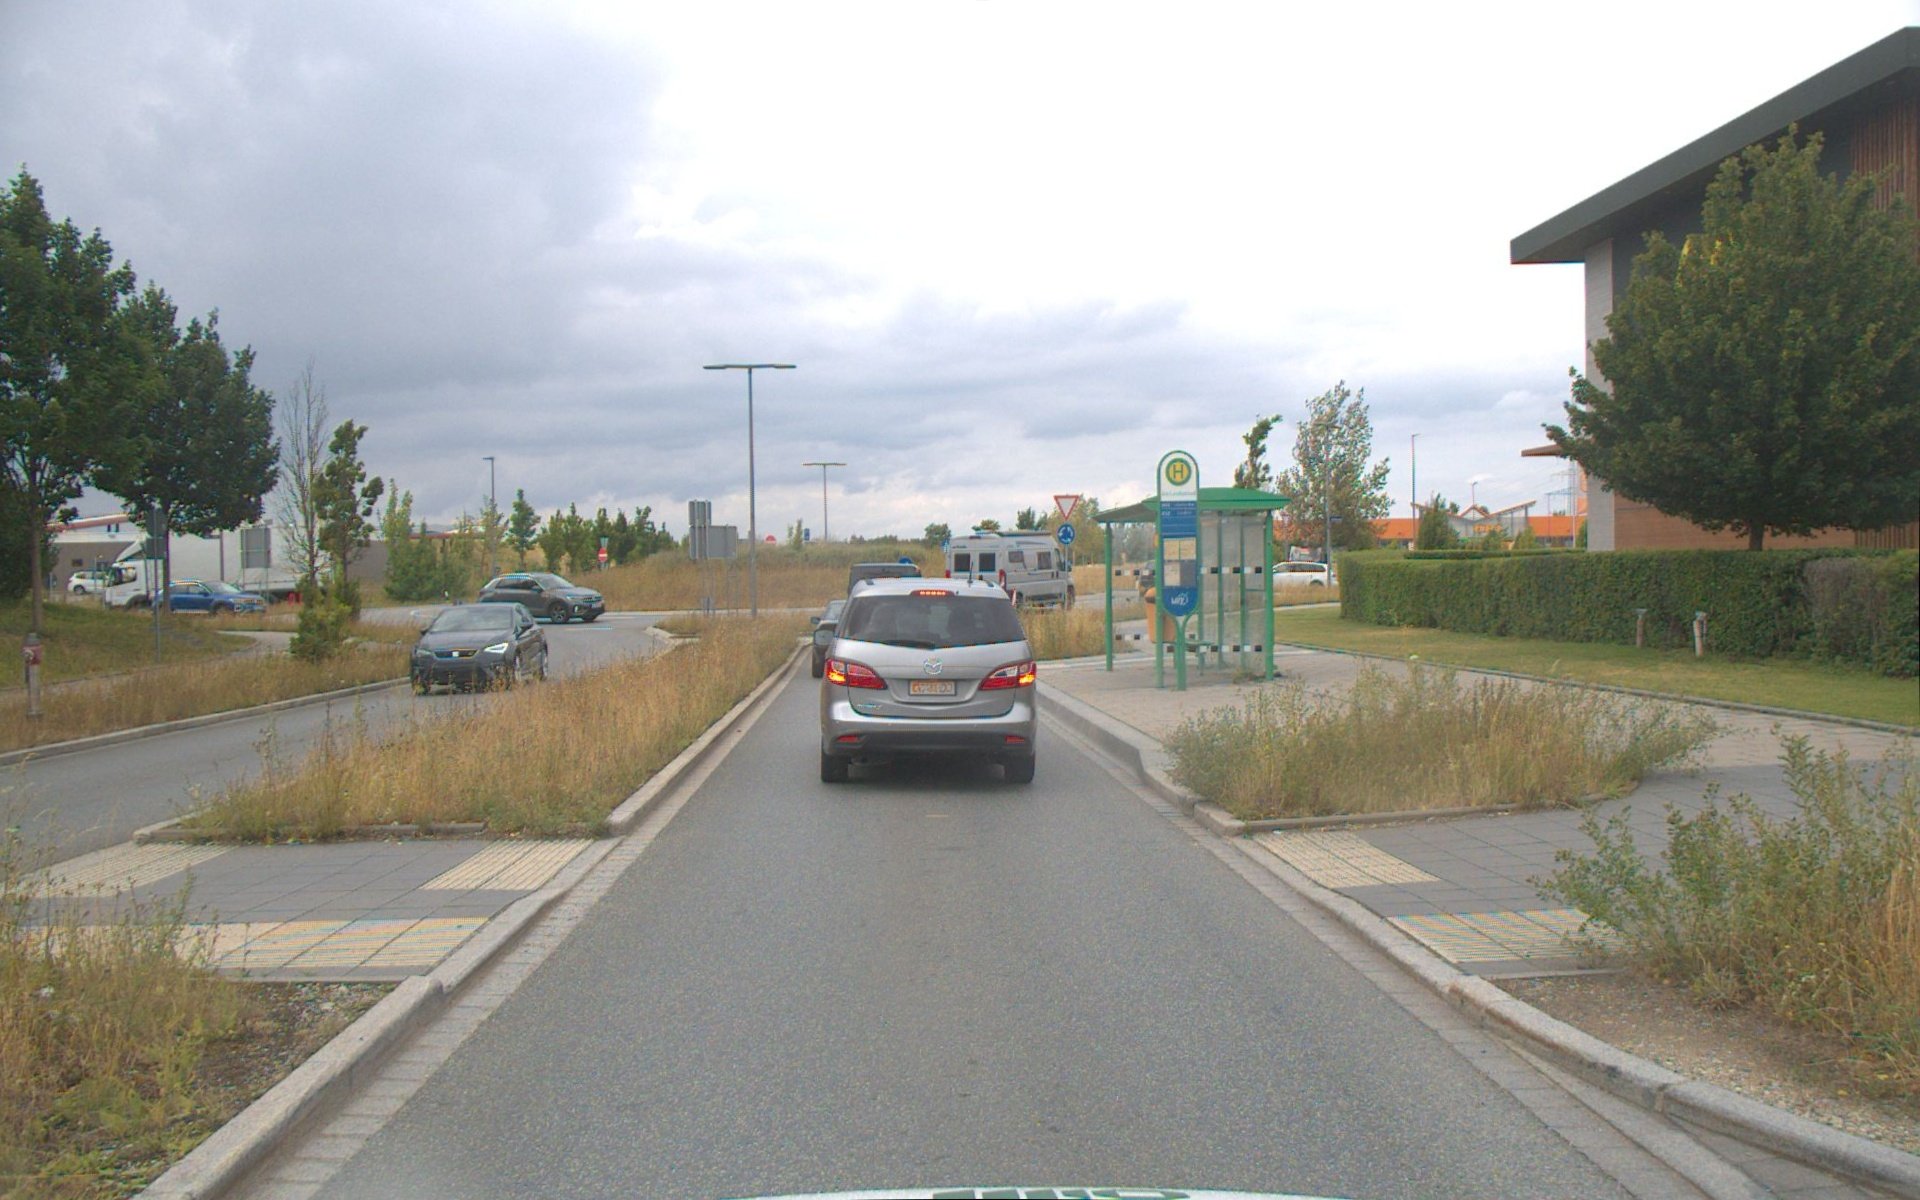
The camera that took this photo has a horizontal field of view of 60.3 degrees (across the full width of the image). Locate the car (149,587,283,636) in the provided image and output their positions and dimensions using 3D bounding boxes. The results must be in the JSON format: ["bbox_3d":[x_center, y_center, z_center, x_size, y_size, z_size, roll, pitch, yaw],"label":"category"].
[{"bbox_3d":[-26.680,0.413,59.308,4.125,1.555,1.848,-3,0,17],"label":"car"}]

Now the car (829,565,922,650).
[{"bbox_3d":[-1.927,0.145,38.932,2.016,1.857,4.785,-1,0,-1],"label":"car"}]

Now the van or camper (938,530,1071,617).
[{"bbox_3d":[1.458,-0.823,51.239,2.257,2.549,5.202,0,1,25],"label":"van or camper"}]

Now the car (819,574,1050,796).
[{"bbox_3d":[-0.319,0.601,14.110,1.696,1.628,3.804,0,1,-4],"label":"car"}]

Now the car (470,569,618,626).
[{"bbox_3d":[-13.134,-0.081,52.284,4.106,1.620,2.064,-1,1,24],"label":"car"}]

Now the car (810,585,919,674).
[{"bbox_3d":[-1.670,0.474,30.050,1.807,1.443,4.224,-1,1,-1],"label":"car"}]

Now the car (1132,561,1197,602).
[{"bbox_3d":[8.042,-0.735,64.698,1.951,1.542,4.003,-1,1,15],"label":"car"}]

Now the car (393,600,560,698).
[{"bbox_3d":[-8.175,0.782,28.320,1.805,1.431,3.998,-3,1,-3],"label":"car"}]

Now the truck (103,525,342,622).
[{"bbox_3d":[-31.876,-1.187,71.983,9.169,3.975,3.125,-1,0,-21],"label":"truck"}]

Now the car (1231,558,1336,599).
[{"bbox_3d":[14.587,-0.981,74.760,4.504,1.788,2.002,0,0,7],"label":"car"}]

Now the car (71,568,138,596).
[{"bbox_3d":[-63.439,-1.353,122.654,3.909,2.049,1.998,0,1,-5],"label":"car"}]

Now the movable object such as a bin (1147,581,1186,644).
[{"bbox_3d":[2.713,0.162,21.752,0.447,0.812,0.380,-1,0,-4],"label":"movable object such as a bin"}]
